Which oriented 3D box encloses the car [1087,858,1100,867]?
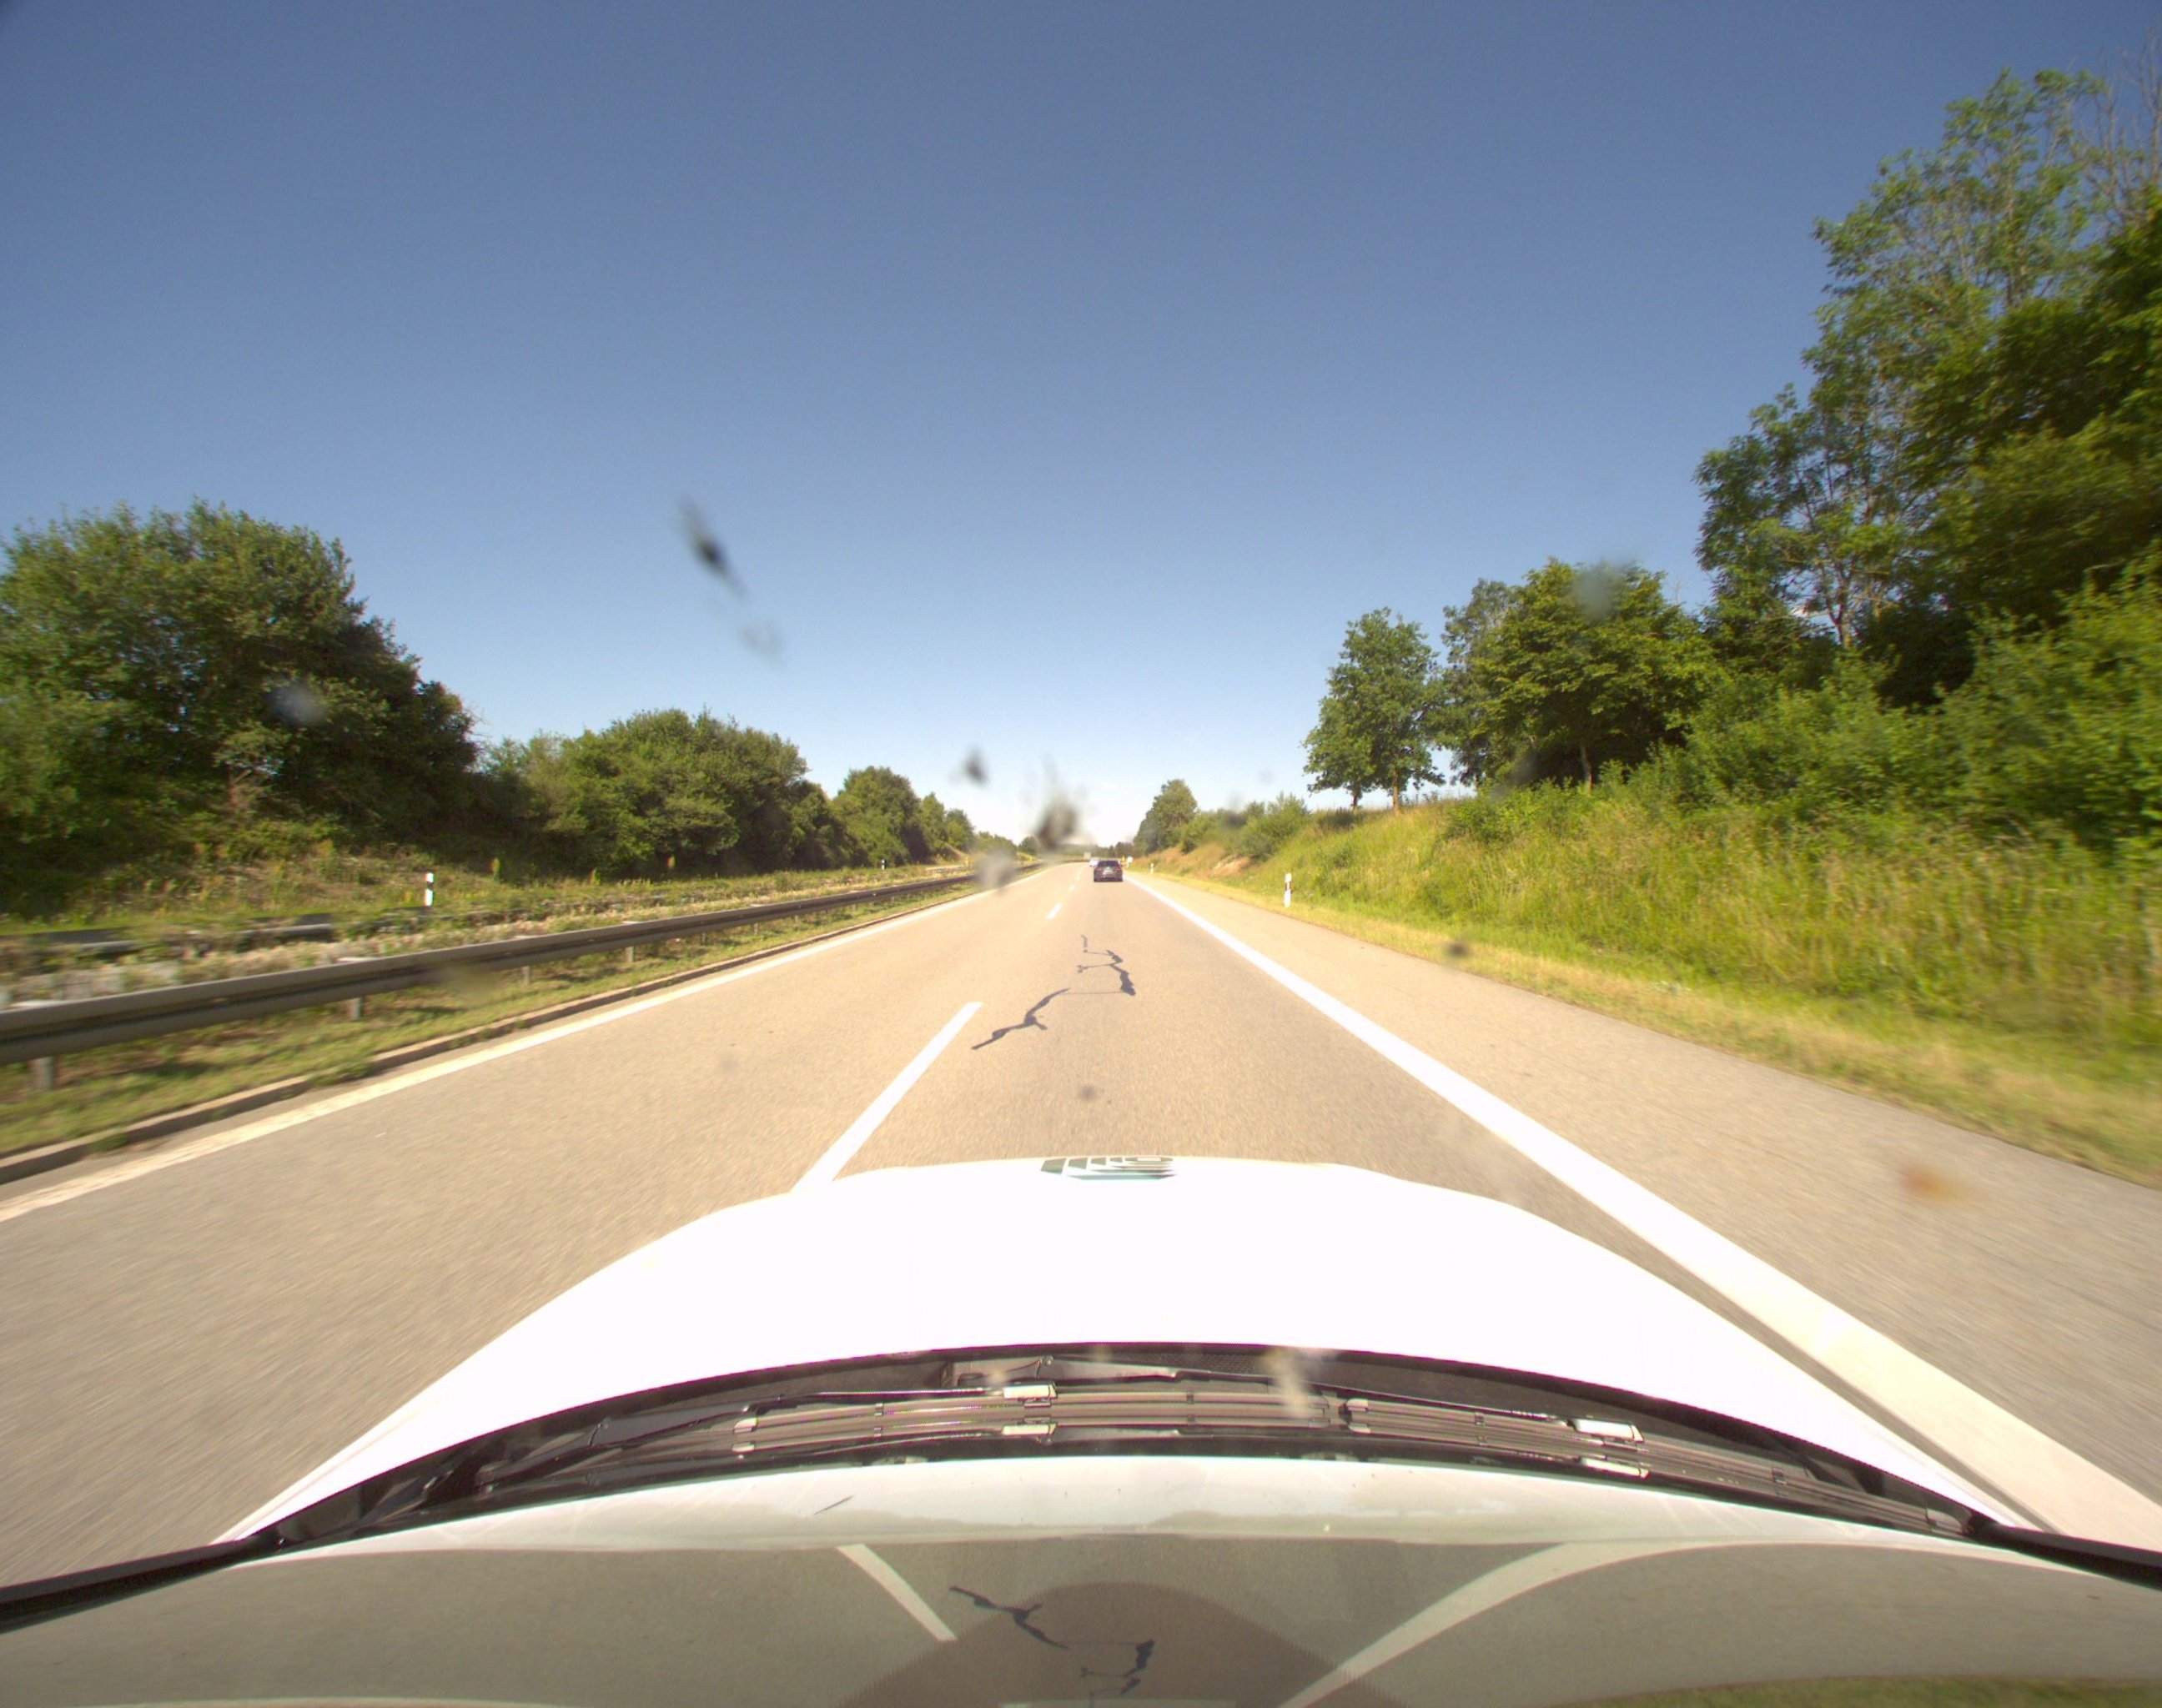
[{"bbox_3d":[2.263,1.514,144.985,2.002,1.344,3.997,5,-1,-1],"label":"car"}]

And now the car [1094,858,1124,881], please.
[{"bbox_3d":[1.743,0.969,51.387,1.784,1.344,4.001,-1,0,2],"label":"car"}]

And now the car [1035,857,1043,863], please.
[{"bbox_3d":[-10.602,1.492,205.601,1.761,1.584,4.792,2,0,0],"label":"car"}]
